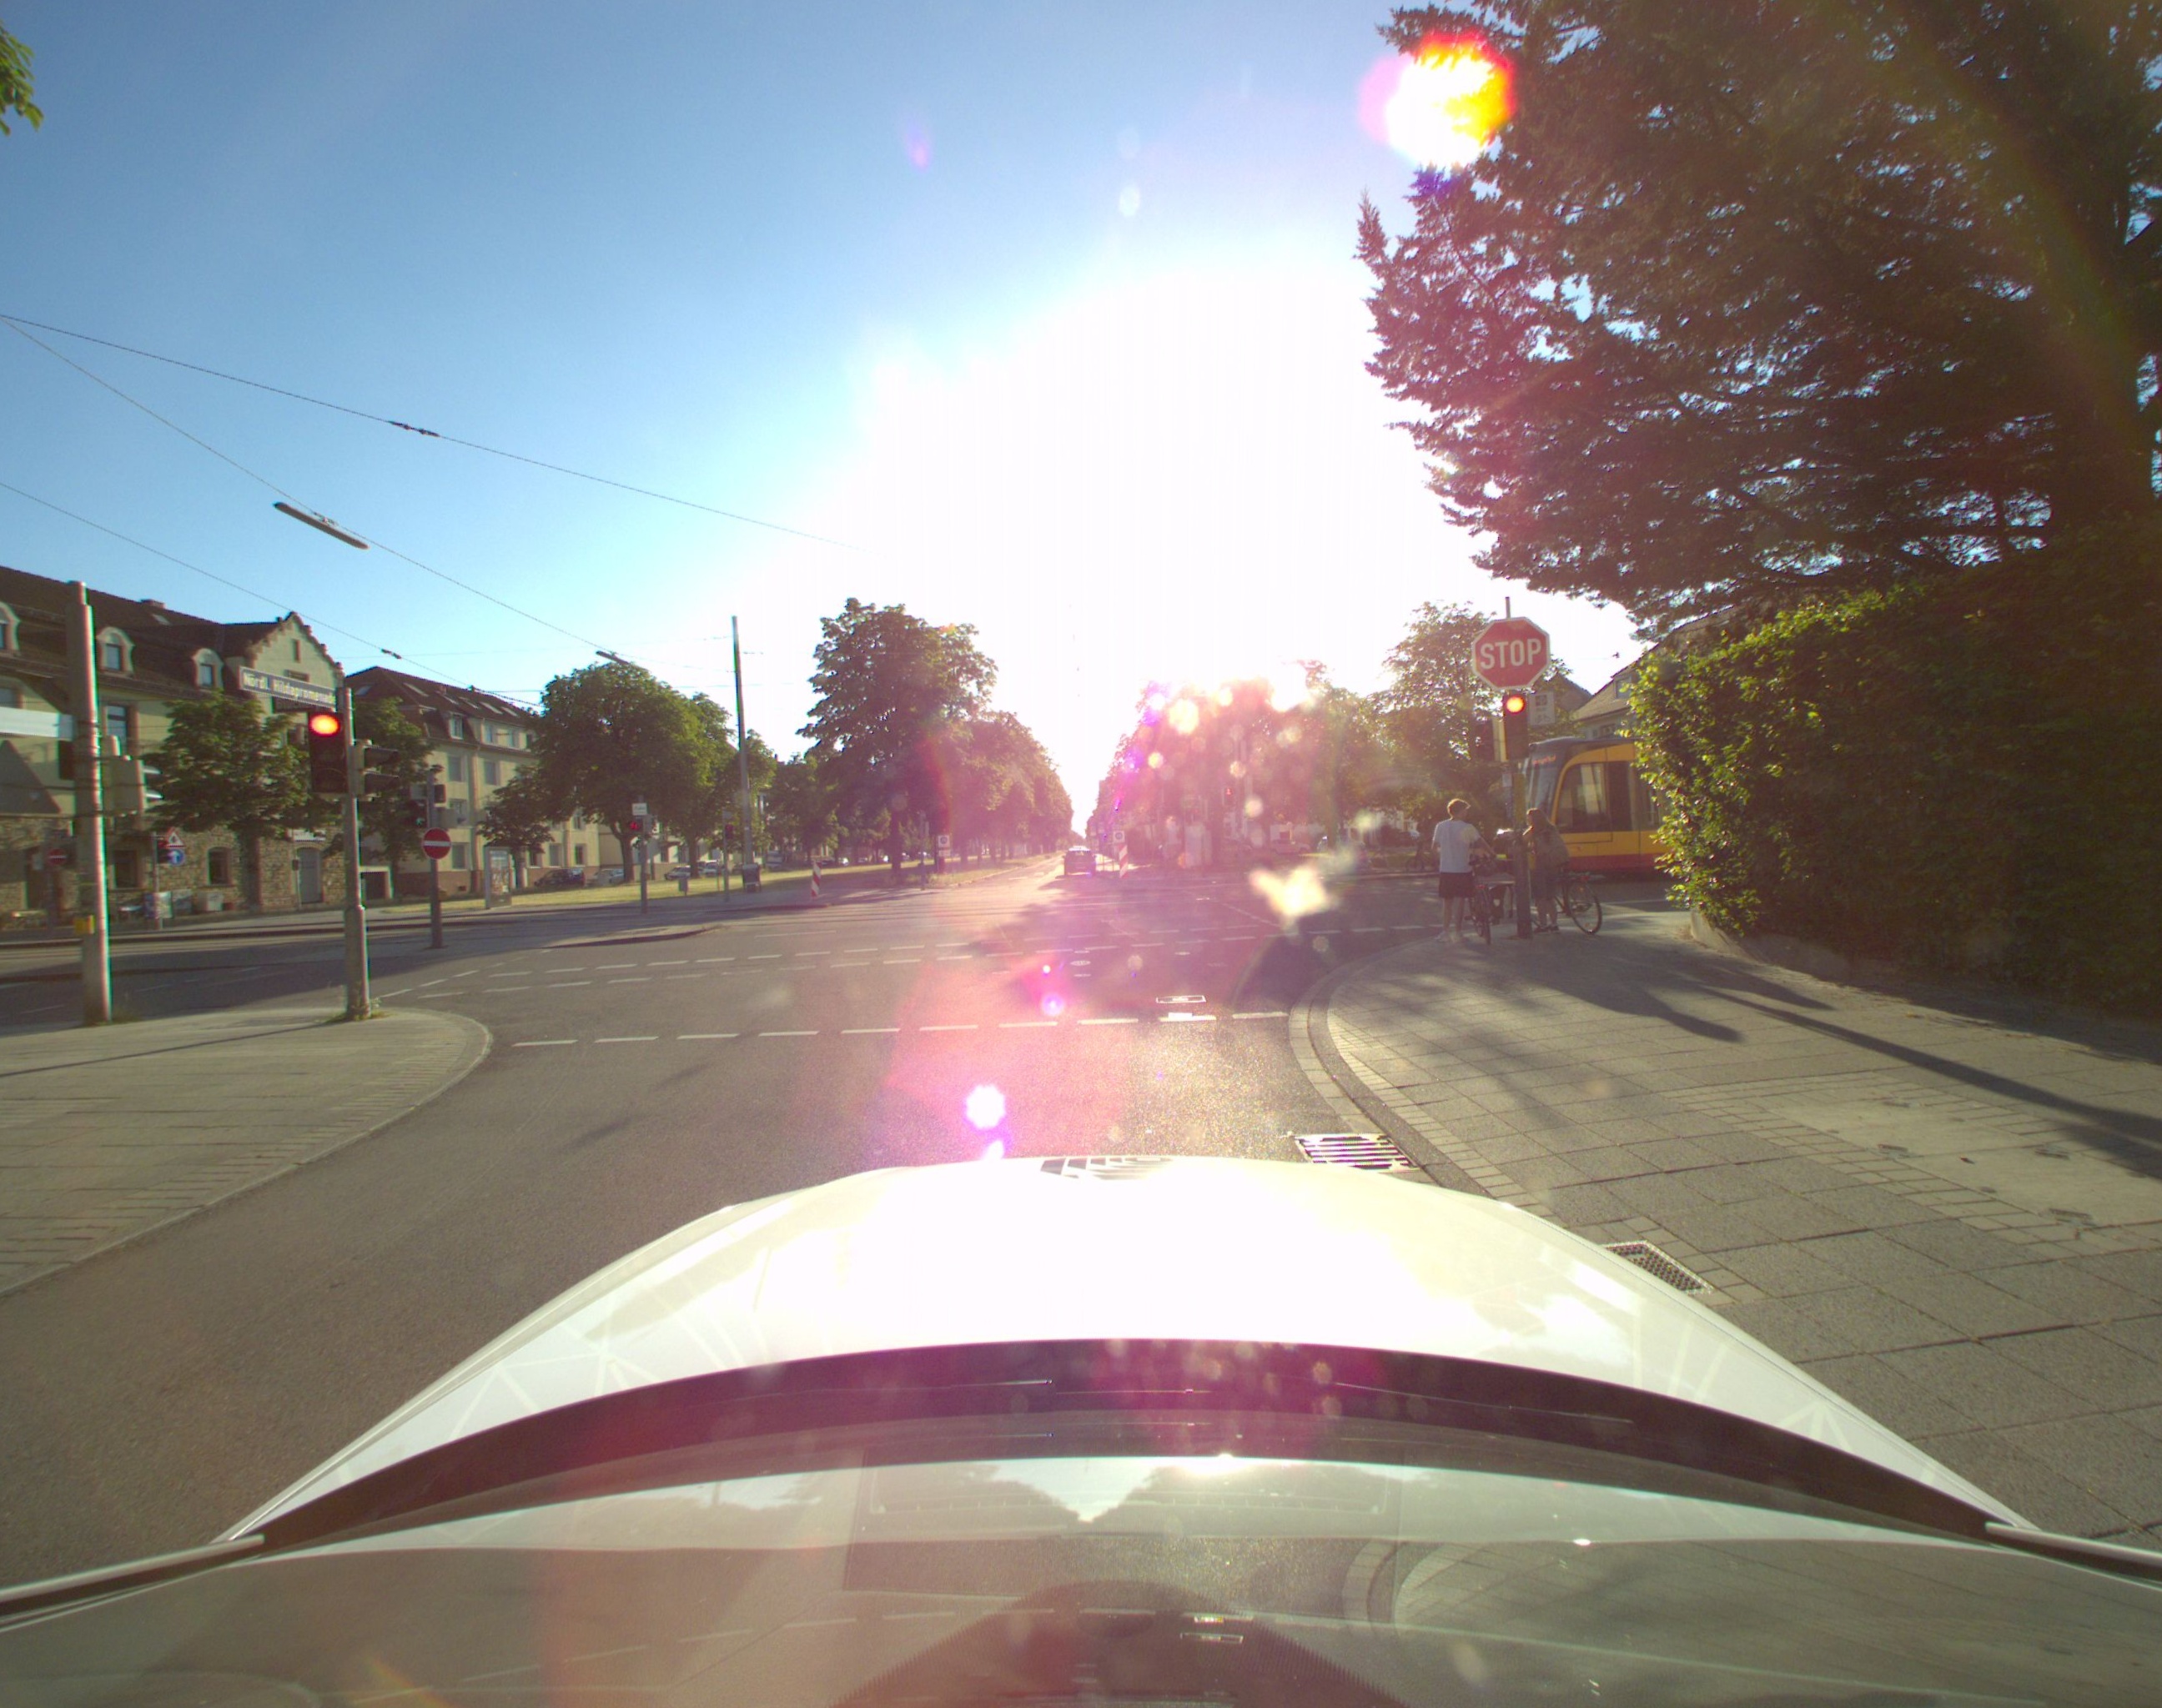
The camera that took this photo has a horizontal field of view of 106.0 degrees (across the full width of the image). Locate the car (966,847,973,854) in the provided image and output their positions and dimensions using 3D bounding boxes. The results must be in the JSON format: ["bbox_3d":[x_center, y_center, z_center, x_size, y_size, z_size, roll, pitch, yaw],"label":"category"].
[{"bbox_3d":[-34.997,-1.027,255.017,1.649,1.938,3.566,0,-2,-1],"label":"car"}]

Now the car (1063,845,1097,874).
[{"bbox_3d":[0.009,0.323,44.706,1.719,1.511,4.542,0,0,2],"label":"car"}]

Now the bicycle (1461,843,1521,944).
[{"bbox_3d":[5.319,0.459,10.638,0.567,1.184,1.916,0,1,23],"label":"bicycle"}]

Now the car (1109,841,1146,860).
[{"bbox_3d":[5.348,-0.369,93.653,3.980,1.822,1.757,-3,-5,-5],"label":"car"}]

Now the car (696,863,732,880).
[{"bbox_3d":[-37.228,1.752,82.703,1.791,1.554,4.417,0,1,-2],"label":"car"}]

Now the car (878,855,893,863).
[{"bbox_3d":[-41.735,0.977,173.961,1.986,1.659,4.357,0,-1,2],"label":"car"}]

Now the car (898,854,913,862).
[{"bbox_3d":[-36.320,0.897,168.664,2.016,1.659,3.984,0,-1,1],"label":"car"}]

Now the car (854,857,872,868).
[{"bbox_3d":[-36.918,1.441,137.912,1.805,1.781,4.123,0,-1,1],"label":"car"}]

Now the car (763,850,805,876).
[{"bbox_3d":[-37.167,1.076,102.217,2.384,3.131,7.853,0,0,0],"label":"car"}]

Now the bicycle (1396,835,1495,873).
[{"bbox_3d":[12.883,0.023,28.881,3.051,1.161,0.878,-3,-1,14],"label":"bicycle"}]

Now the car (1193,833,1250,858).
[{"bbox_3d":[11.261,-0.664,65.427,4.228,1.875,2.030,-2,-1,-1],"label":"car"}]

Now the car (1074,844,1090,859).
[{"bbox_3d":[0.046,-0.356,103.944,1.987,1.781,3.999,0,1,-1],"label":"car"}]

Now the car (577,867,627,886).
[{"bbox_3d":[-43.062,1.998,73.328,1.986,1.659,4.001,0,-1,2],"label":"car"}]

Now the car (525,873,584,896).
[{"bbox_3d":[-43.395,2.471,67.235,1.986,1.736,4.313,0,-1,2],"label":"car"}]

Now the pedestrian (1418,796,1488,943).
[{"bbox_3d":[4.957,0.198,10.902,0.622,1.866,0.778,-6,-1,20],"label":"pedestrian"}]

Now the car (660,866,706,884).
[{"bbox_3d":[-37.416,1.940,76.625,1.986,1.659,4.572,0,-1,2],"label":"car"}]

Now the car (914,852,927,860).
[{"bbox_3d":[-37.089,0.411,188.299,1.987,1.658,4.570,-2,0,0],"label":"car"}]

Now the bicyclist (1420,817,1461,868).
[{"bbox_3d":[12.744,-0.392,28.914,1.136,1.723,0.878,-3,-1,14],"label":"bicyclist"}]

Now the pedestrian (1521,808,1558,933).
[{"bbox_3d":[5.972,0.214,10.624,0.346,1.585,0.465,-1,-1,23],"label":"pedestrian"}]

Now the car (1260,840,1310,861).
[{"bbox_3d":[16.311,-0.301,65.113,3.548,1.516,1.602,-2,0,-6],"label":"car"}]

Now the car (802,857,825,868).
[{"bbox_3d":[-42.033,1.317,127.921,1.986,1.659,4.376,0,-1,2],"label":"car"}]

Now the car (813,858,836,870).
[{"bbox_3d":[-37.111,1.445,117.723,1.873,1.674,4.315,0,0,1],"label":"car"}]

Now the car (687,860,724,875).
[{"bbox_3d":[-43.368,1.571,94.202,1.986,1.659,4.572,0,-1,2],"label":"car"}]

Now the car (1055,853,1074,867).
[{"bbox_3d":[-1.550,0.562,78.440,1.704,1.359,4.202,0,0,0],"label":"car"}]

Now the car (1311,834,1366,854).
[{"bbox_3d":[20.766,-0.790,65.635,3.915,1.524,1.521,-1,-1,-5],"label":"car"}]

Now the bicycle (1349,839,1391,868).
[{"bbox_3d":[11.599,-0.024,32.726,1.513,1.089,0.469,-2,2,9],"label":"bicycle"}]

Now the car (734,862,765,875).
[{"bbox_3d":[-42.214,1.814,103.876,1.986,1.659,4.572,0,-1,2],"label":"car"}]

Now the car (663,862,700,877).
[{"bbox_3d":[-42.767,1.640,87.283,1.709,1.633,4.192,0,-1,2],"label":"car"}]

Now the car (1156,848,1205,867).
[{"bbox_3d":[8.575,0.312,70.633,3.975,1.447,1.715,-2,-1,-1],"label":"car"}]
